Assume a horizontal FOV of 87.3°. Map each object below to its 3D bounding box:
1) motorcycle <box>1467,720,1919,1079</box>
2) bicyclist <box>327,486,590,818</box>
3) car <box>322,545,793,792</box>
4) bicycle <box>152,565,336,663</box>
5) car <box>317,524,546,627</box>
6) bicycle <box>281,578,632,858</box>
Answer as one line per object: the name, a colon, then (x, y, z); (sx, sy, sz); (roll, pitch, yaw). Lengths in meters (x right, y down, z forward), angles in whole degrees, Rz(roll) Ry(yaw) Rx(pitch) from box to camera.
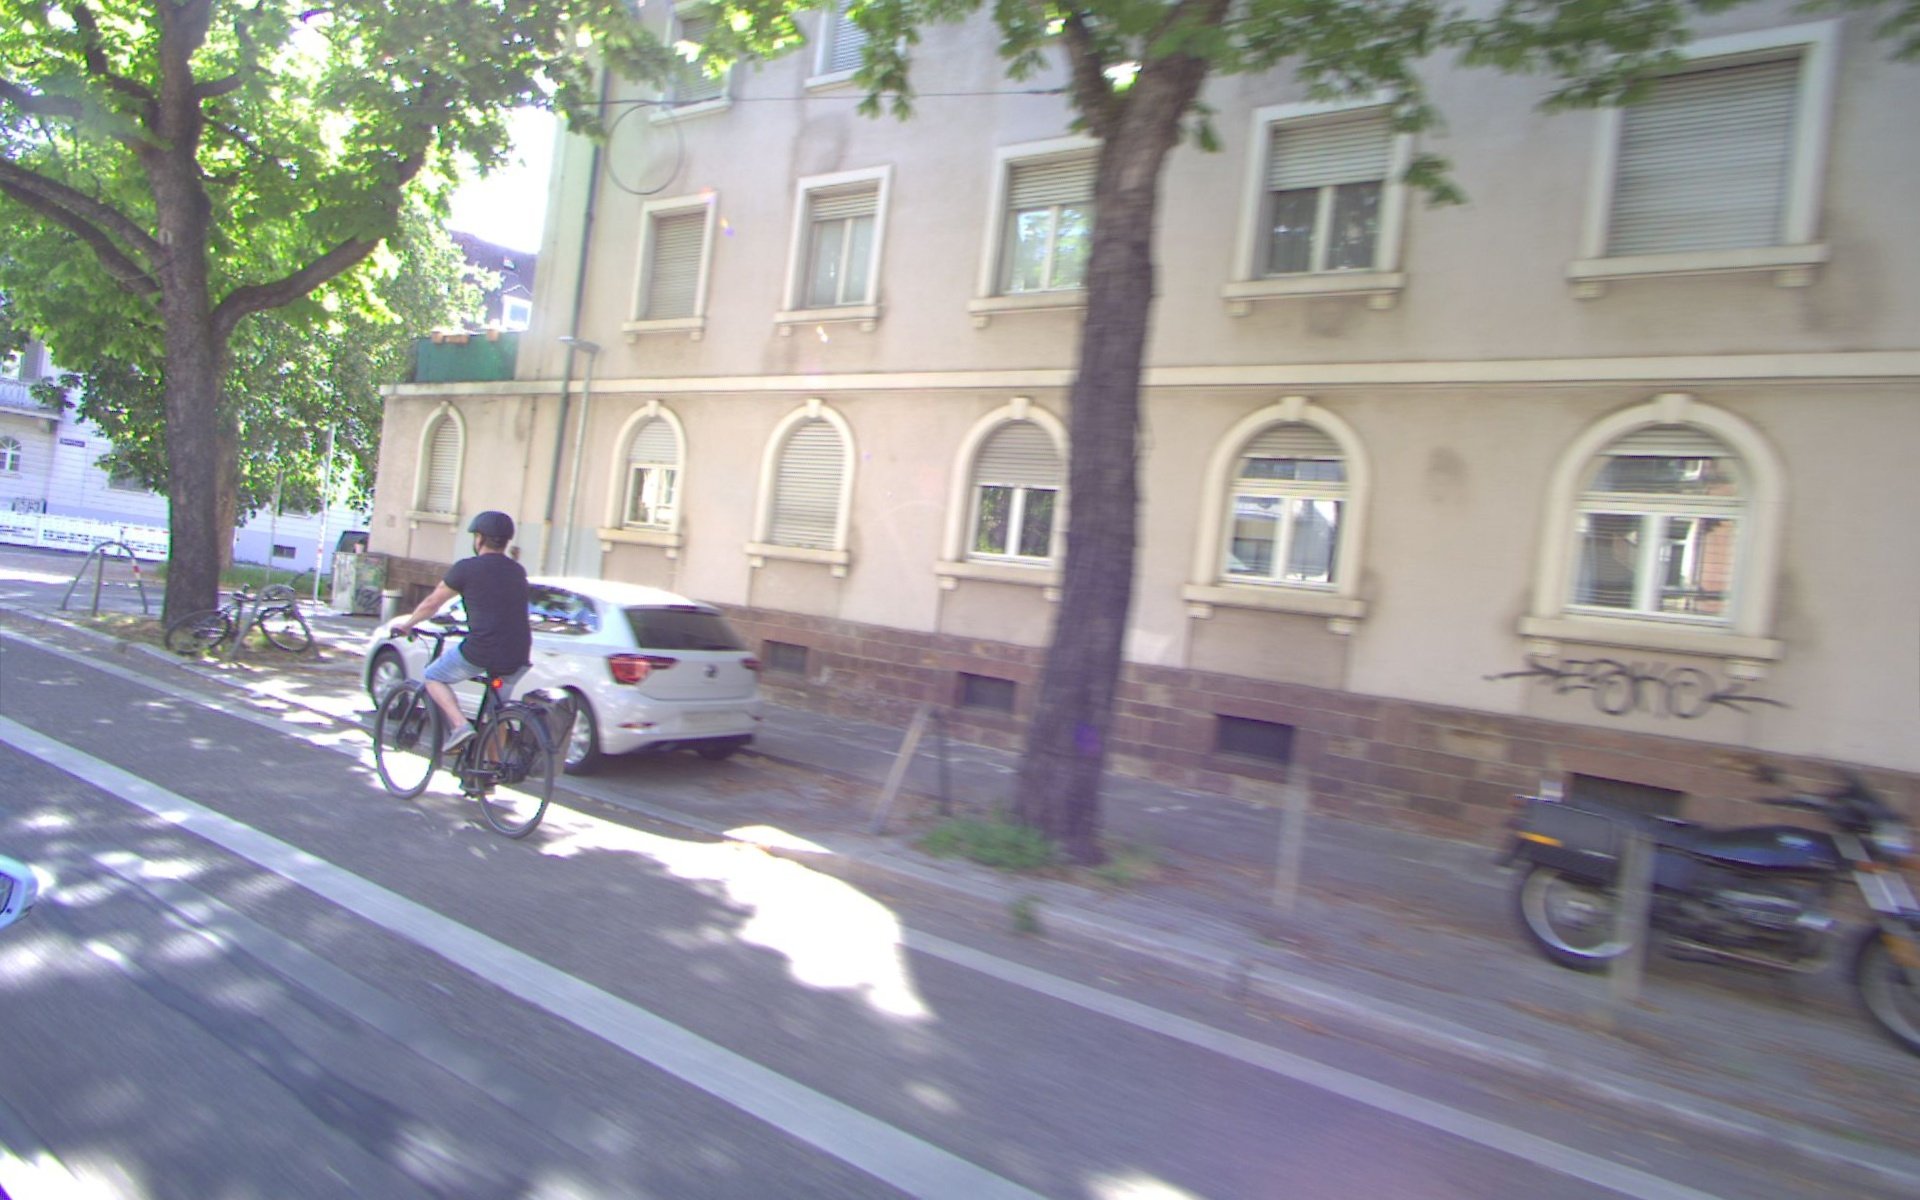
motorcycle: (3.896, 1.418, 5.051); (2.226, 1.266, 0.762); (7, 0, 34)
bicyclist: (-2.973, 0.288, 5.987); (1.029, 1.758, 0.763); (7, -2, 31)
car: (-3.694, 0.493, 9.009); (4.144, 1.490, 1.703); (7, 0, 32)
bicycle: (-8.217, 0.189, 11.621); (0.629, 0.992, 1.570); (7, 0, 23)
car: (-13.808, -0.568, 26.430); (5.018, 1.911, 1.984); (9, -4, -33)
bicycle: (-3.031, 0.628, 5.987); (2.061, 1.256, 0.763); (7, -2, 31)
